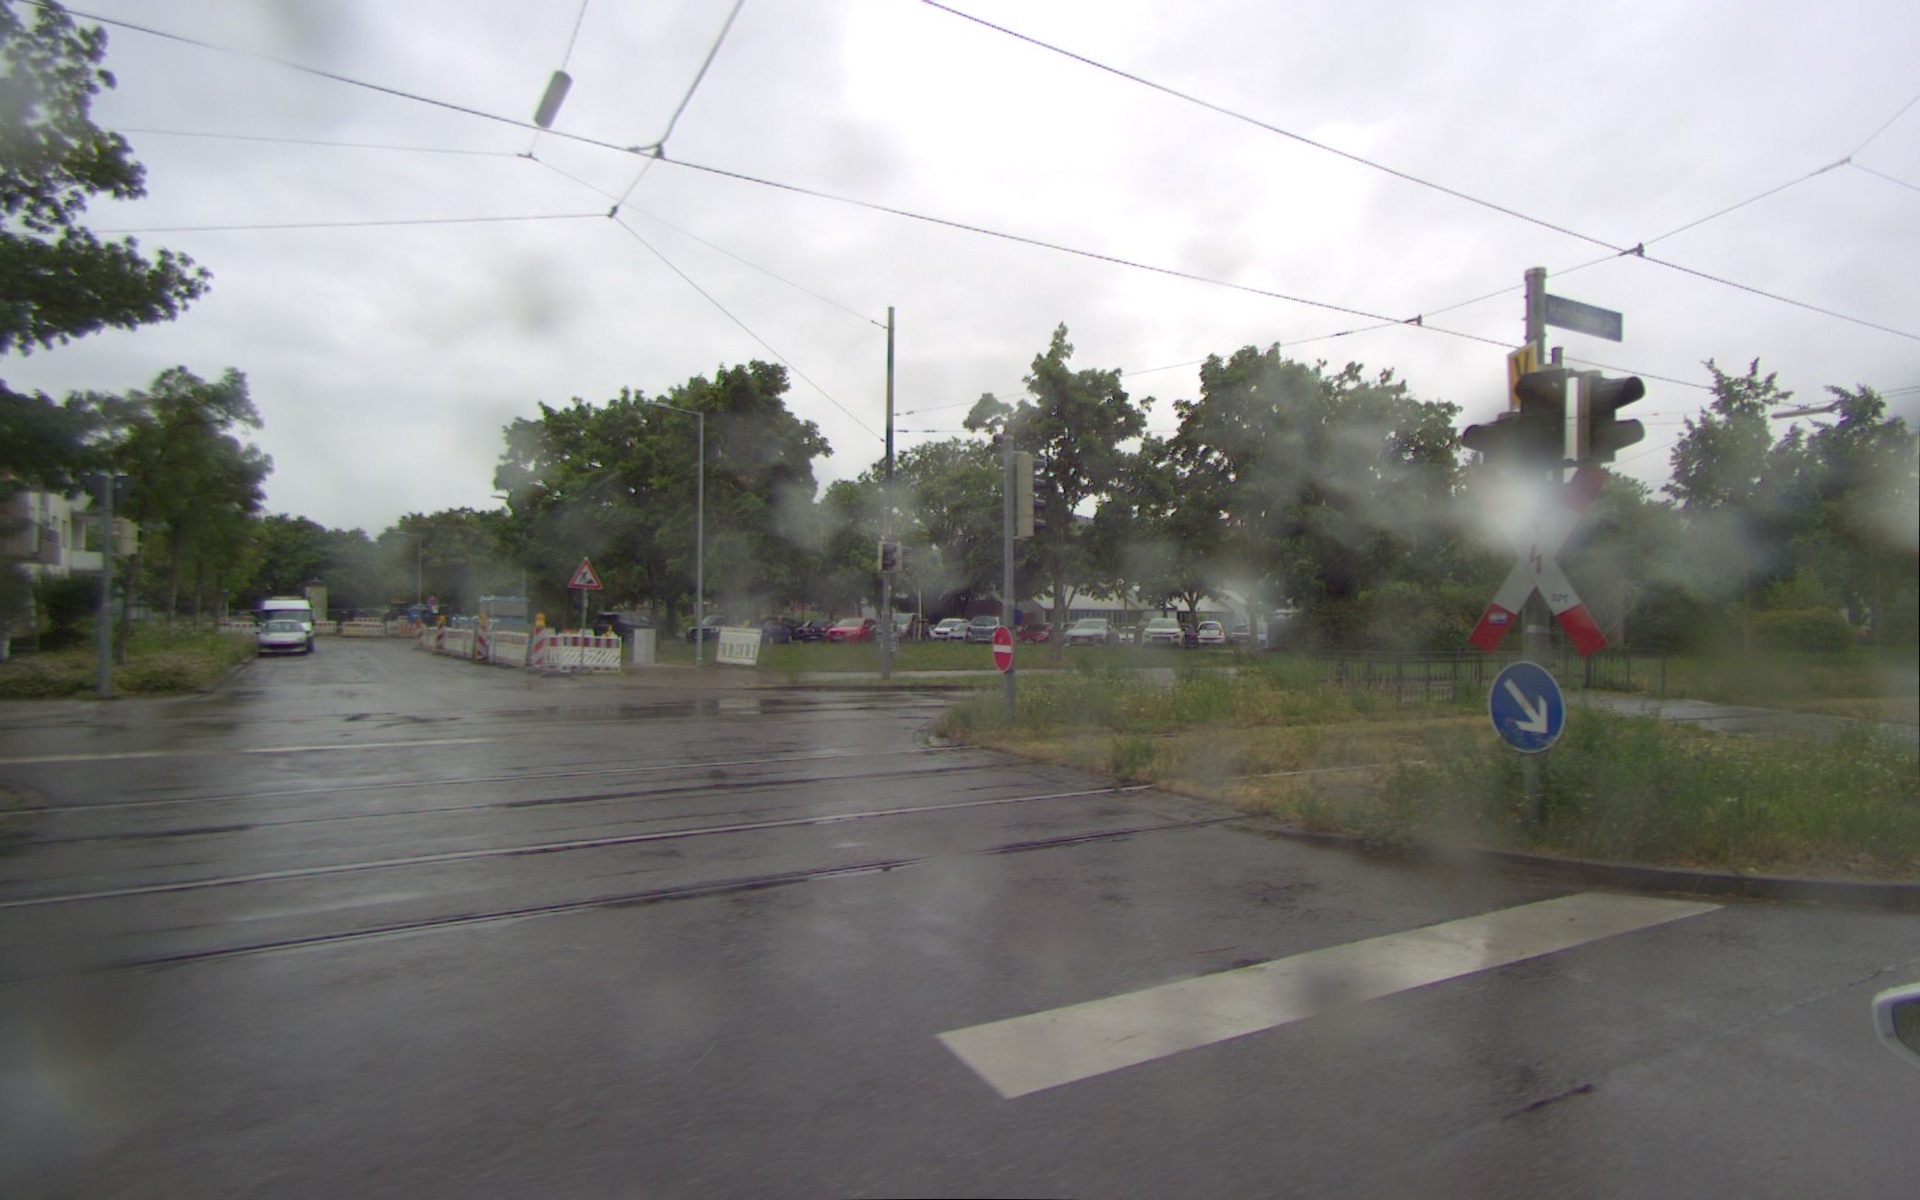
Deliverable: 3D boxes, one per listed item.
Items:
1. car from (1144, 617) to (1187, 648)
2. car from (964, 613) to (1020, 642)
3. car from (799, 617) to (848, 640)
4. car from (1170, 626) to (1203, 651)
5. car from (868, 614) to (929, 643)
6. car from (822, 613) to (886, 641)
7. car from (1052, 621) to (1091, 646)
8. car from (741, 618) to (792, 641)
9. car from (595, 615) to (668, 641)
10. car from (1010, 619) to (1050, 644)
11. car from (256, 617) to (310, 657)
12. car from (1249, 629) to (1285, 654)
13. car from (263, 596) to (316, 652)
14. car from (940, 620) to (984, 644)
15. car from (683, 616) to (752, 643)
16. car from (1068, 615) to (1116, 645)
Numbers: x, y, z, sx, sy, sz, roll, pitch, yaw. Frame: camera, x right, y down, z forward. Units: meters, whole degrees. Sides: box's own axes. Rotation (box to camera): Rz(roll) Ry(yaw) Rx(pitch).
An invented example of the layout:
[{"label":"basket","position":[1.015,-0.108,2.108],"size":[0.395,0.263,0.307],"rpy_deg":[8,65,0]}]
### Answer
[{"label":"car","position":[8.819,1.396,43.007],"size":[1.632,1.265,3.745],"rpy_deg":[0,-2,14]},{"label":"car","position":[1.491,1.252,45.795],"size":[1.632,1.265,3.744],"rpy_deg":[0,-2,17]},{"label":"car","position":[-8.192,1.741,60.507],"size":[1.632,1.343,3.745],"rpy_deg":[0,-2,14]},{"label":"car","position":[12.119,2.043,53.549],"size":[1.632,1.265,3.745],"rpy_deg":[0,-2,14]},{"label":"car","position":[-2.773,1.328,46.198],"size":[1.632,1.265,3.744],"rpy_deg":[0,-2,17]},{"label":"car","position":[-4.924,1.270,47.091],"size":[1.632,1.265,3.744],"rpy_deg":[0,-2,17]},{"label":"car","position":[6.176,1.830,55.158],"size":[1.632,1.343,3.745],"rpy_deg":[0,-2,14]},{"label":"car","position":[-11.754,1.817,61.148],"size":[1.632,1.343,3.745],"rpy_deg":[0,-2,14]},{"label":"car","position":[-16.472,1.402,50.500],"size":[1.632,1.265,3.744],"rpy_deg":[0,-2,17]},{"label":"car","position":[3.940,1.737,56.091],"size":[1.632,1.343,3.745],"rpy_deg":[0,-2,14]},{"label":"car","position":[-27.693,1.480,41.082],"size":[1.735,1.550,3.594],"rpy_deg":[1,-2,-35]},{"label":"car","position":[16.163,2.176,52.947],"size":[1.632,1.265,3.745],"rpy_deg":[0,-2,14]},{"label":"car","position":[-31.010,1.121,46.432],"size":[1.898,2.478,4.428],"rpy_deg":[1,-2,-35]},{"label":"car","position":[0.139,1.846,57.636],"size":[1.632,1.343,3.745],"rpy_deg":[0,-2,14]},{"label":"car","position":[-11.917,1.456,49.566],"size":[1.632,1.265,3.744],"rpy_deg":[0,-2,17]},{"label":"car","position":[5.757,1.297,43.583],"size":[1.632,1.265,3.745],"rpy_deg":[0,-2,14]}]
